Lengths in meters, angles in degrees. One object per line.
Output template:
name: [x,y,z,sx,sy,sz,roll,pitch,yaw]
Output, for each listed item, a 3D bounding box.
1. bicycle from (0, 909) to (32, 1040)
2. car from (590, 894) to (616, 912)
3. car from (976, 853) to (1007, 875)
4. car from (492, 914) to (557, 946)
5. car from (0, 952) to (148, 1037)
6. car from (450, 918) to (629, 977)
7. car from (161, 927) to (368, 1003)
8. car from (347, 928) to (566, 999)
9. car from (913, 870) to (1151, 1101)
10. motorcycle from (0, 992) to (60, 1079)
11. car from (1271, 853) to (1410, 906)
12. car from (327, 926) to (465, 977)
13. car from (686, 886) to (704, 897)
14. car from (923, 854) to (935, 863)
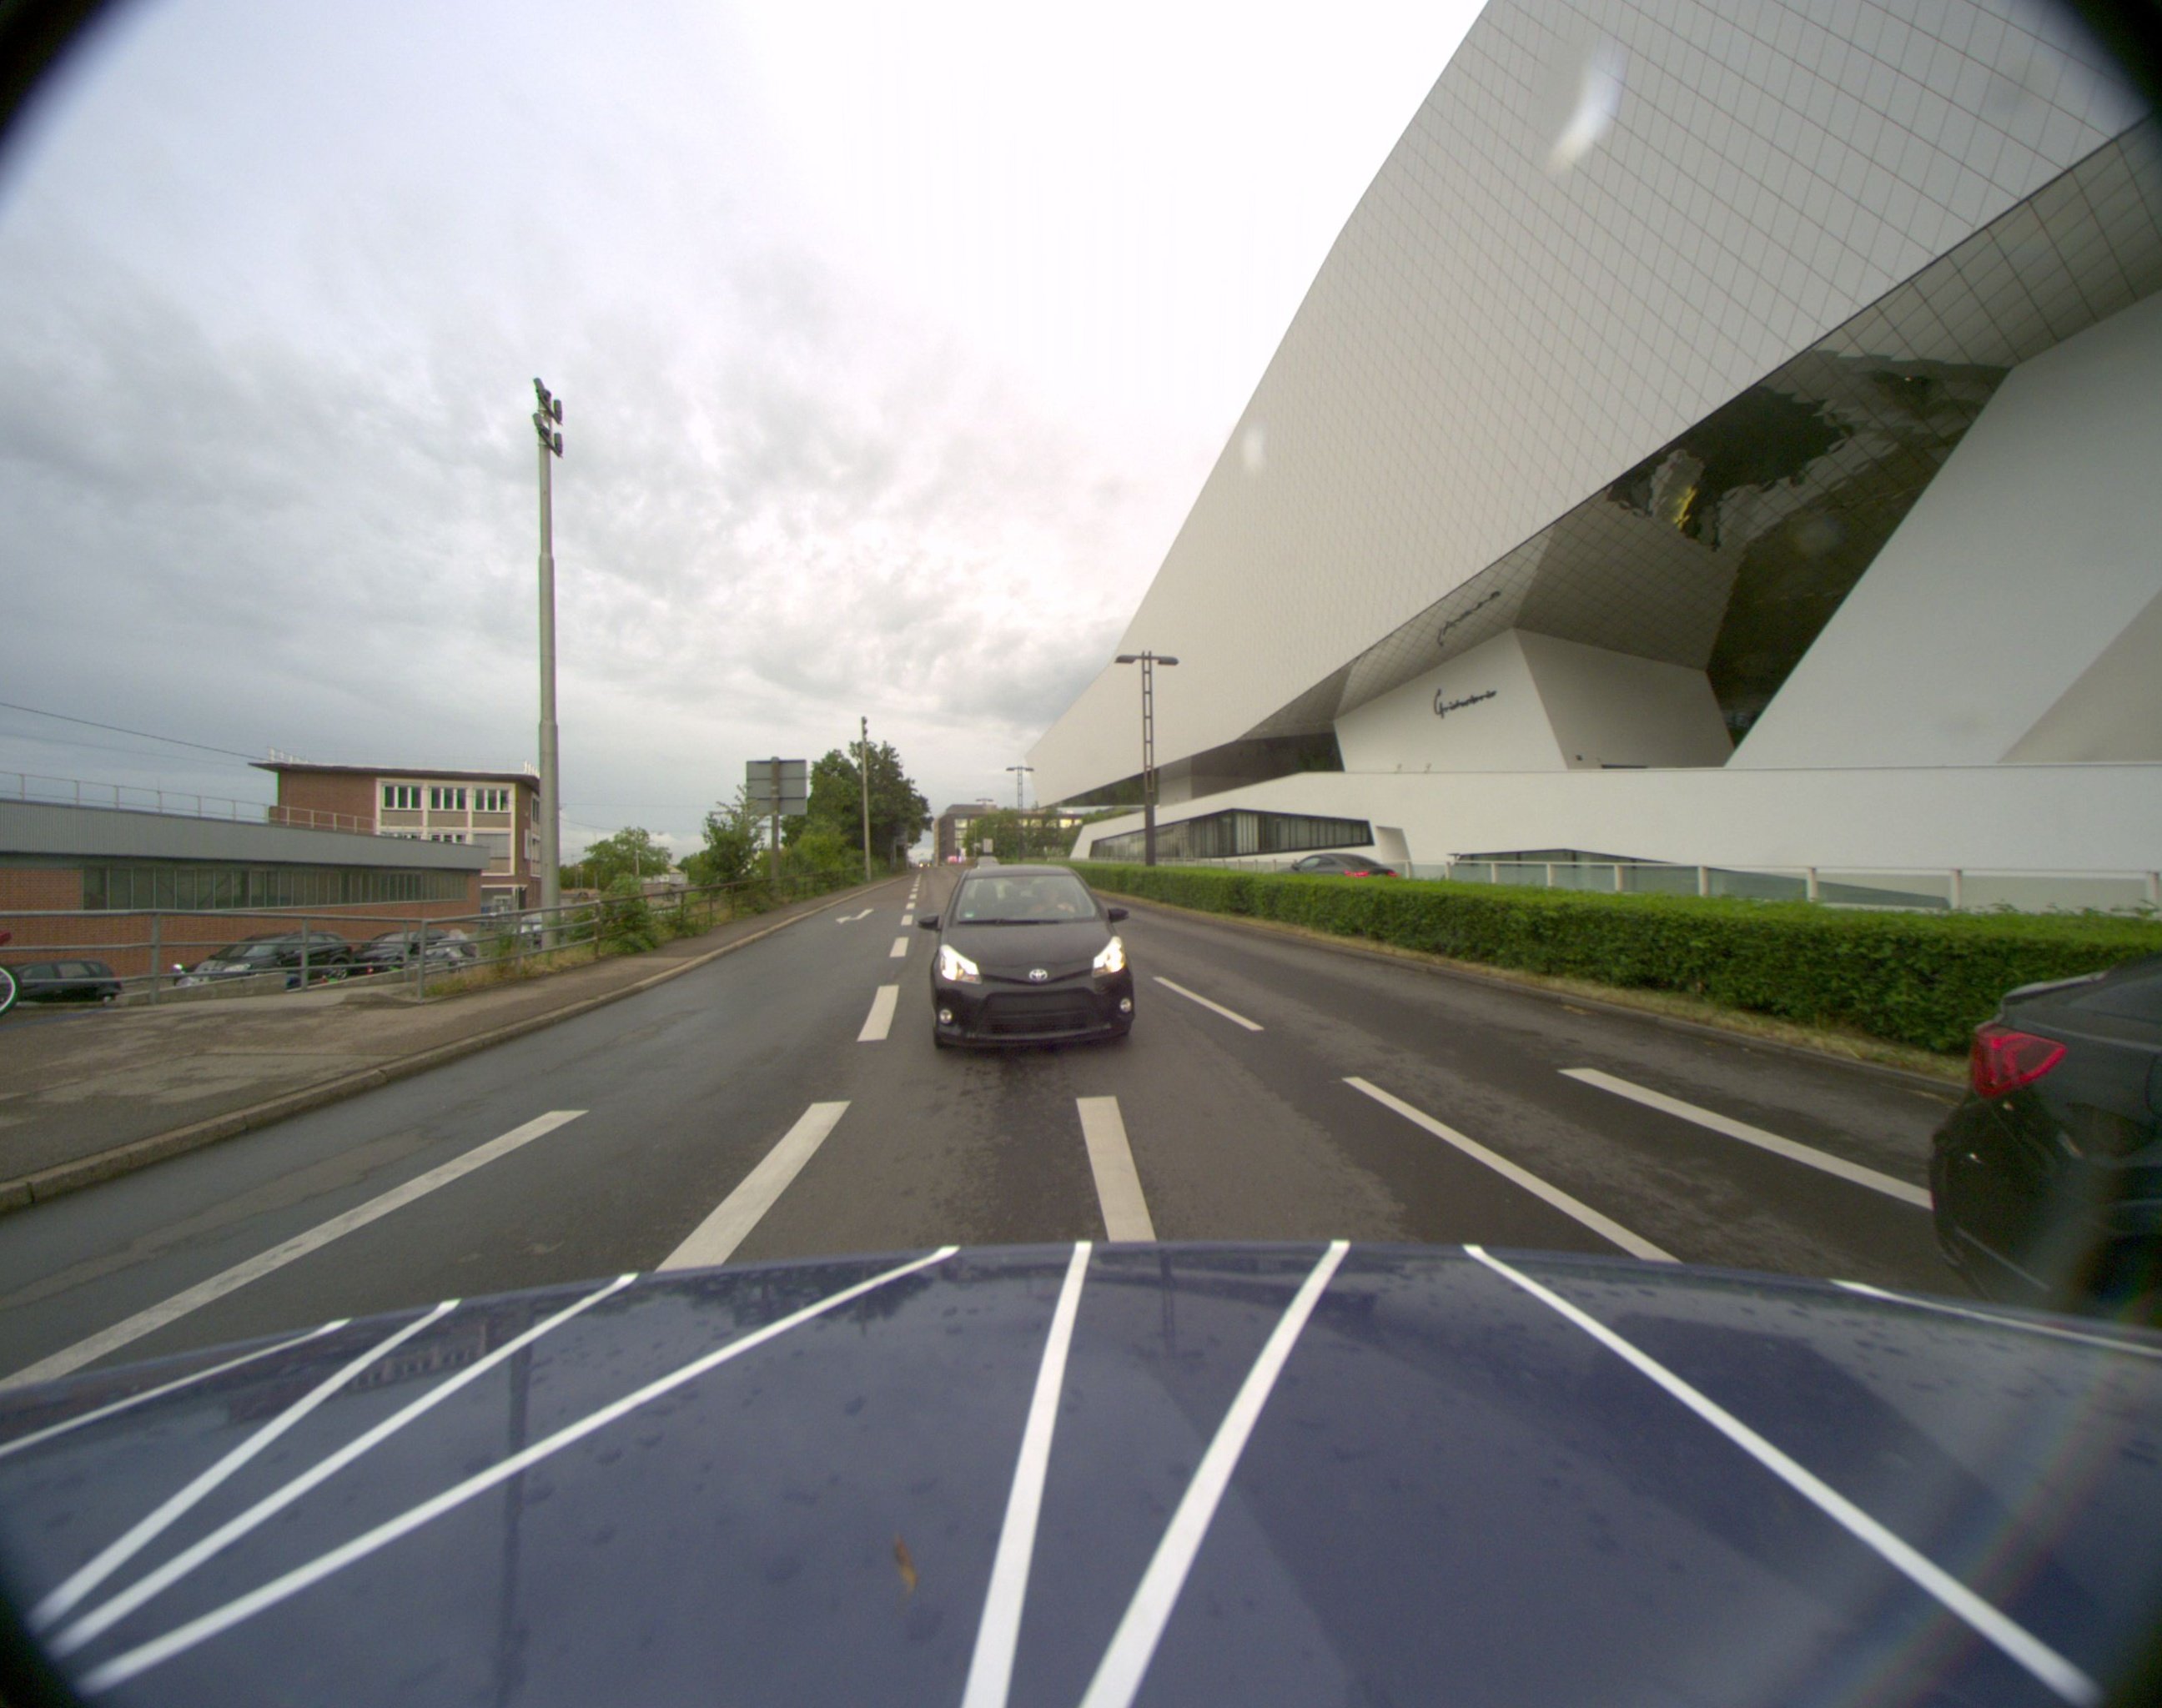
bicycle: [-10.408,1.087,6.550,1.547,1.148,0.450,0,2,-27]
car: [-42.059,4.309,66.913,1.723,1.417,3.991,-1,-1,-30]
car: [-6.525,0.700,55.105,1.819,1.430,4.297,-2,0,-12]
car: [-30.197,4.106,41.339,1.735,1.380,3.994,-2,-1,-19]
car: [-23.104,3.070,16.254,1.721,1.417,3.997,-2,-1,-10]
car: [-15.579,2.688,21.980,3.995,1.417,1.722,-2,-1,5]
car: [-24.443,3.261,23.046,1.784,1.657,4.503,-2,-1,-7]
car: [-14.986,2.612,18.355,3.995,1.417,1.722,-2,-1,5]
car: [-0.622,0.988,7.550,1.695,1.498,4.008,-2,1,-8]
motorcycle: [-13.174,2.178,8.767,1.618,0.916,0.420,-3,1,-24]
car: [7.231,0.651,21.617,1.726,1.329,3.994,-1,0,-17]
car: [-25.688,3.597,28.728,1.720,1.396,4.273,-2,-1,-7]
car: [-54.850,5.298,107.985,1.724,1.417,3.991,-1,-1,-34]
car: [-26.392,0.710,131.968,1.751,1.466,4.063,-2,1,-15]
